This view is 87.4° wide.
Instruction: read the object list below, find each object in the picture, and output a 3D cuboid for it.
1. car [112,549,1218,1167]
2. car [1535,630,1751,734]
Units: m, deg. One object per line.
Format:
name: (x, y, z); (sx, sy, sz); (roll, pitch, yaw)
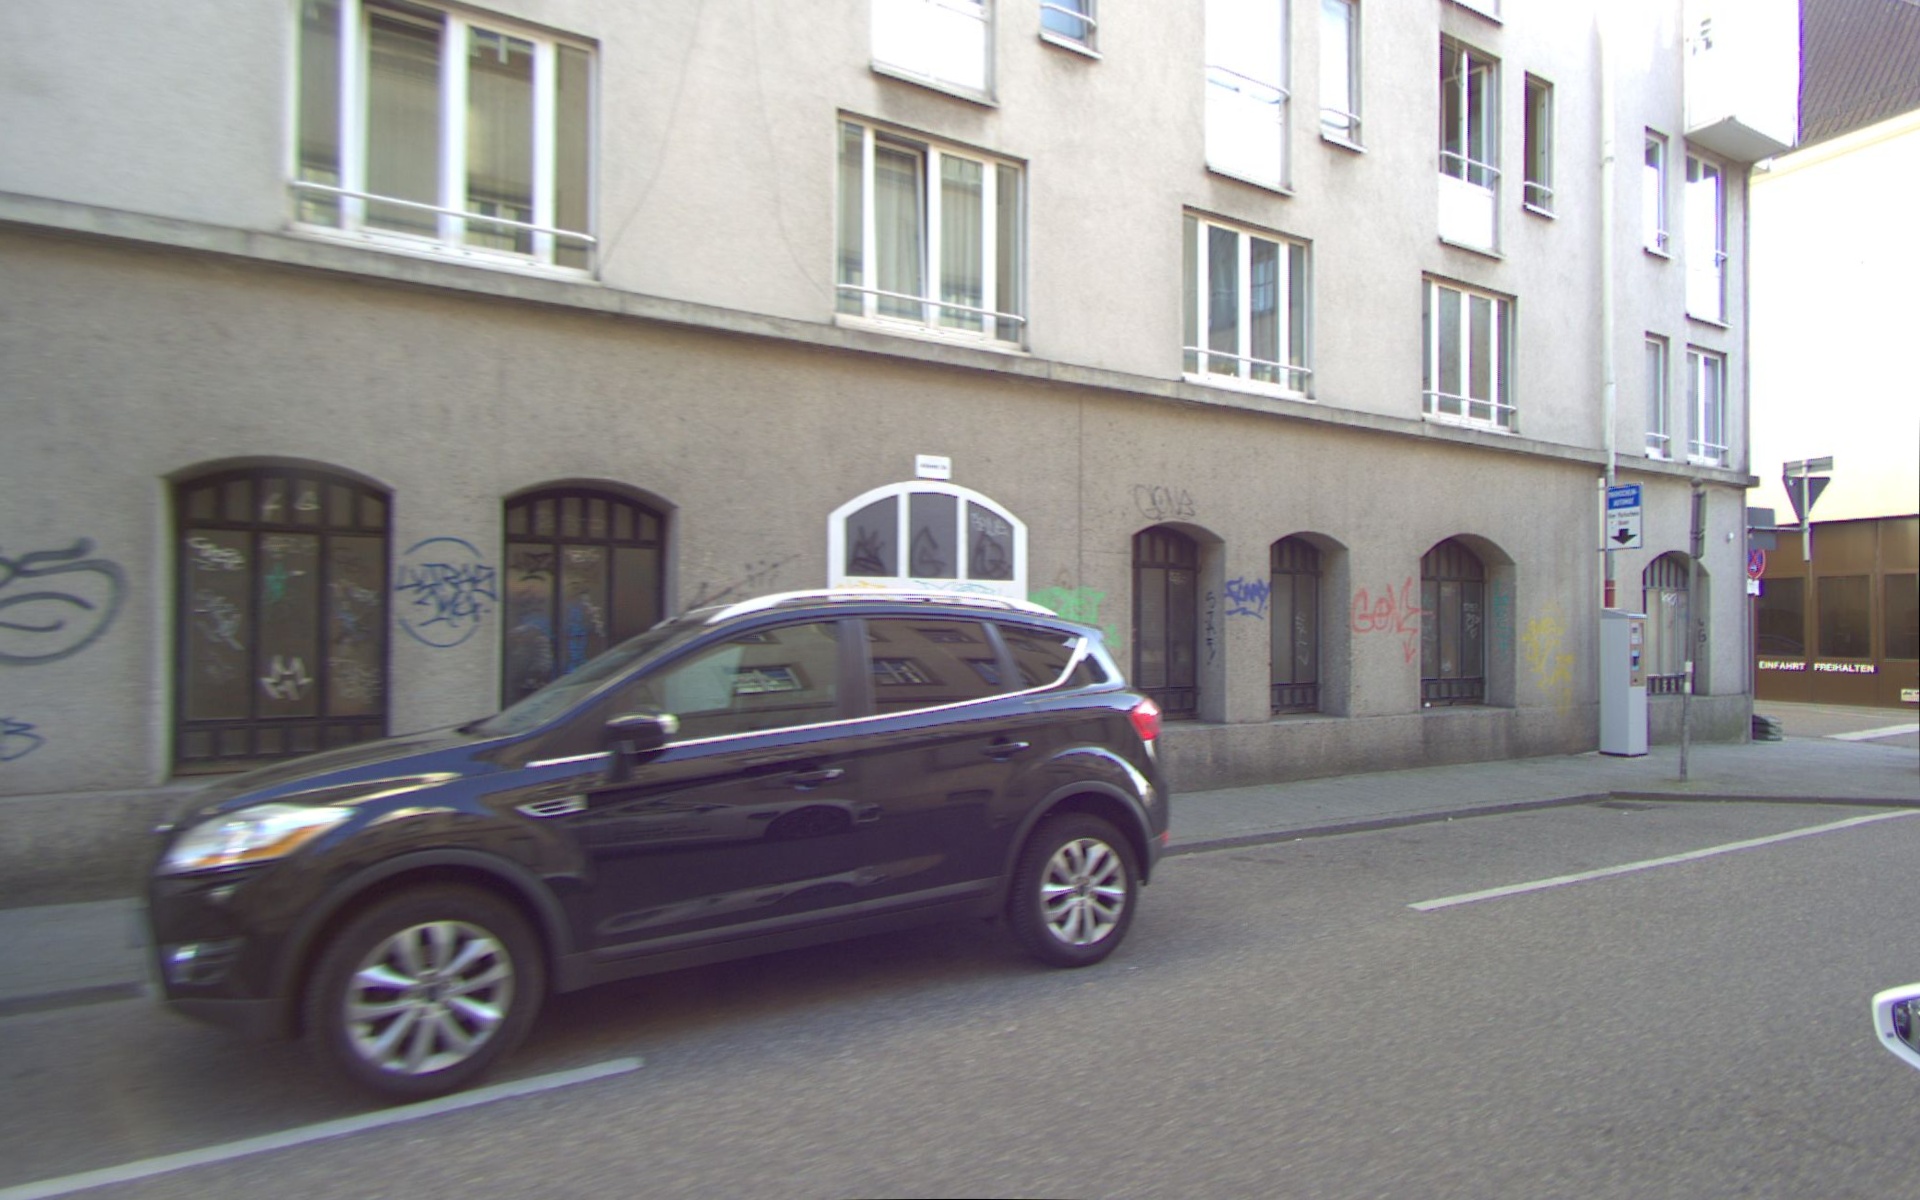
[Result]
car: (-0.988, 0.805, 4.629); (4.139, 1.733, 1.733); (1, -4, -29)
car: (12.274, 1.408, 18.383); (1.727, 1.677, 4.003); (0, -2, 9)
